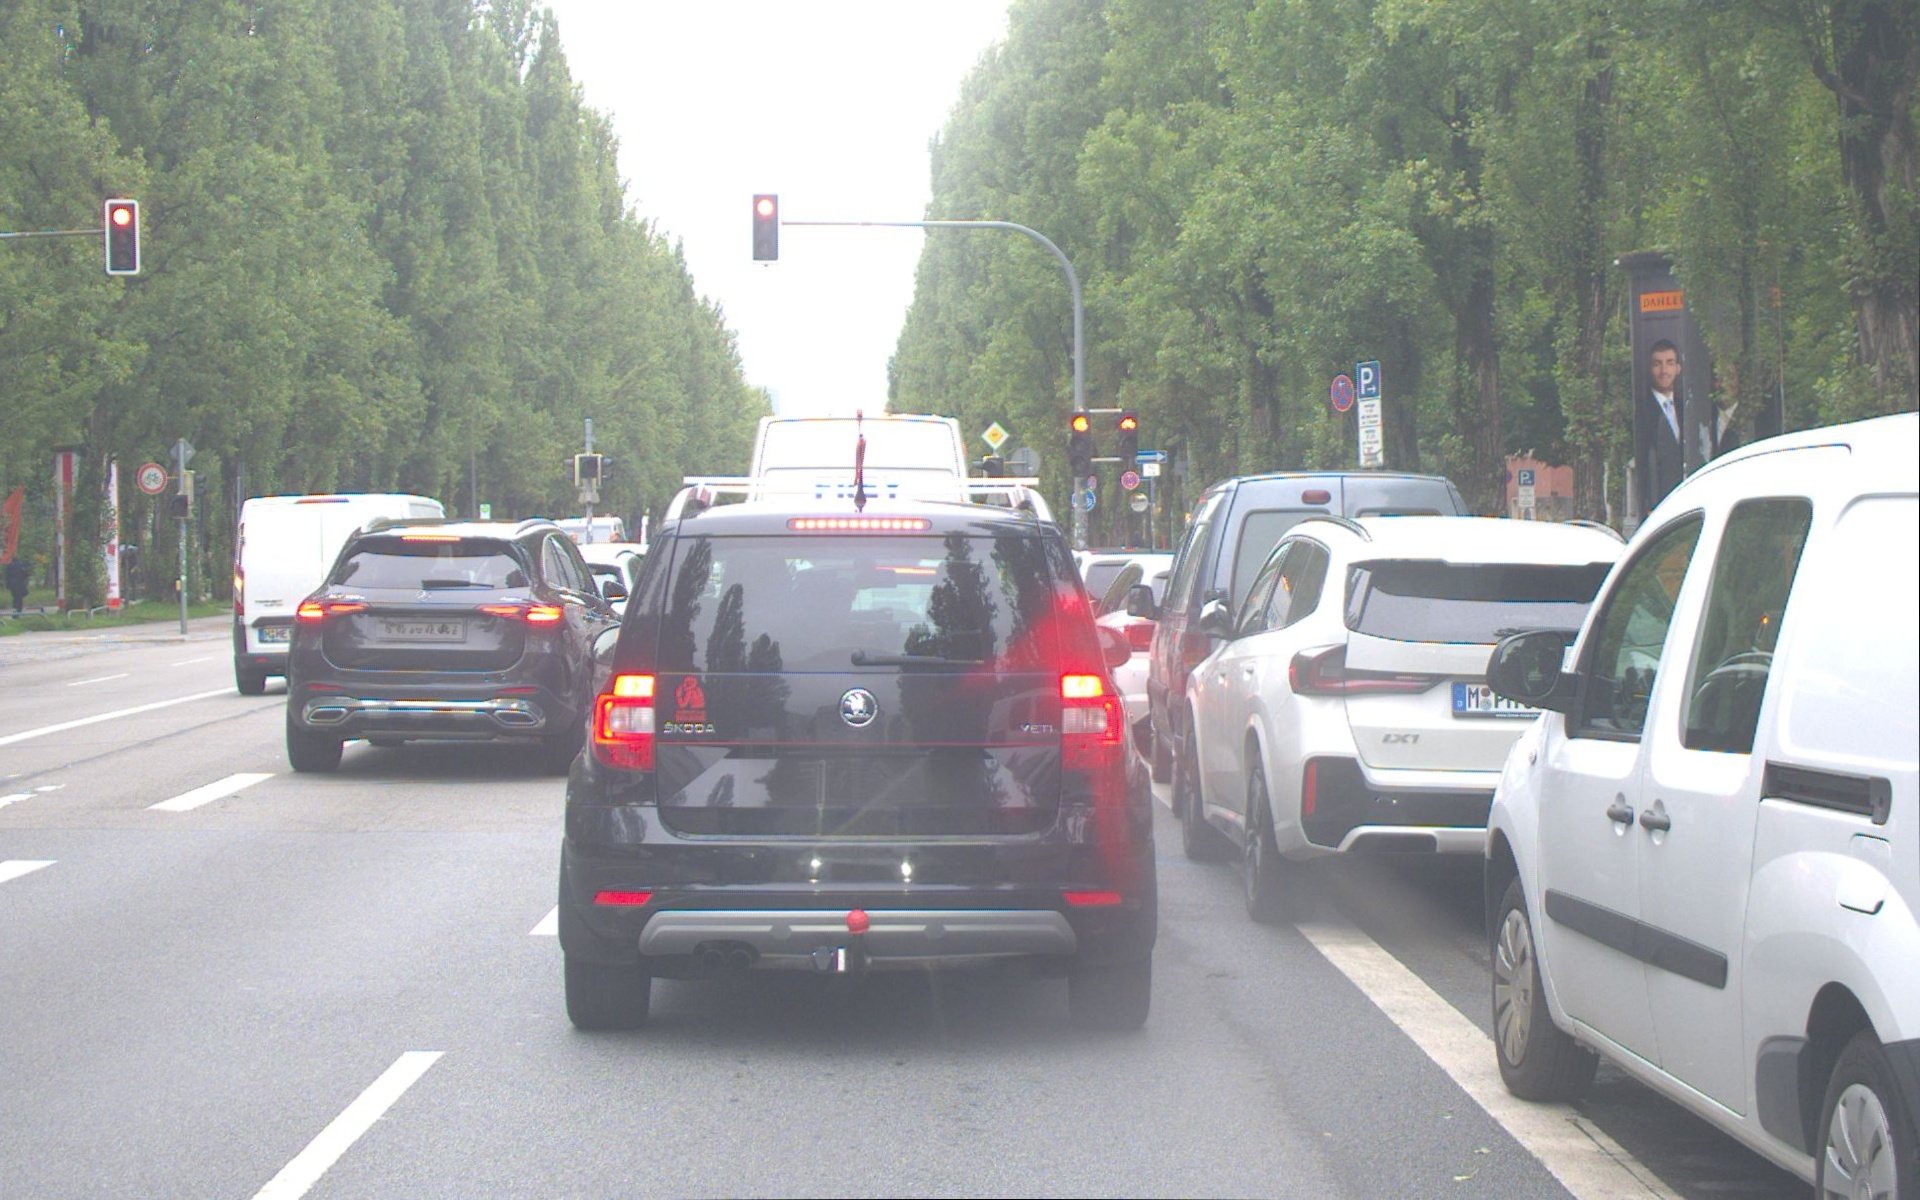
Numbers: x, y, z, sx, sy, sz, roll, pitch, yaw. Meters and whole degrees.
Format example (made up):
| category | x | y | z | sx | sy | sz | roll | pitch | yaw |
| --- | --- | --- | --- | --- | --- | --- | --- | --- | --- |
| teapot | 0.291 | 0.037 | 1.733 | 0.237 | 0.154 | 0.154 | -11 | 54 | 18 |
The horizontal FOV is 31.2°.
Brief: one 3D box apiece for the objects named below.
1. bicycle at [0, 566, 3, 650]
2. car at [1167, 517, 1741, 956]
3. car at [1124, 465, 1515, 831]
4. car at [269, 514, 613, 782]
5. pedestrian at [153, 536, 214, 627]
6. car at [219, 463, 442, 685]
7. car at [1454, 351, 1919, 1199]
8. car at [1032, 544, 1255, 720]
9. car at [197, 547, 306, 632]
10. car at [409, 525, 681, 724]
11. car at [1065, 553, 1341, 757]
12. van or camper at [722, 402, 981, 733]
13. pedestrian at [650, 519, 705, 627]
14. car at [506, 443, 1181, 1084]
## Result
| category | x | y | z | sx | sy | sz | roll | pitch | yaw |
| --- | --- | --- | --- | --- | --- | --- | --- | --- | --- |
| bicycle | -15.483 | 0.141 | 50.673 | 2.536 | 1.233 | 0.812 | -1 | 1 | 9 |
| car | 1.943 | 0.452 | 14.712 | 1.741 | 1.587 | 4.212 | -1 | 1 | -1 |
| car | 1.977 | 0.203 | 19.984 | 1.735 | 1.888 | 4.025 | -1 | 1 | -1 |
| car | -3.383 | 0.249 | 23.099 | 1.781 | 1.614 | 4.025 | 1 | 1 | -2 |
| pedestrian | -15.243 | -0.374 | 67.535 | 0.880 | 1.758 | 0.878 | -1 | 1 | 8 |
| car | -6.353 | -0.286 | 35.064 | 1.781 | 2.104 | 4.025 | -1 | 1 | -4 |
| car | 2.396 | 0.480 | 7.598 | 1.851 | 1.875 | 4.169 | -1 | 1 | -2 |
| car | 1.617 | 0.246 | 31.360 | 1.735 | 1.470 | 3.563 | -1 | 1 | -1 |
| car | -15.599 | -0.250 | 75.833 | 1.688 | 1.776 | 3.775 | -1 | 1 | -1 |
| car | -3.504 | 0.153 | 29.710 | 1.993 | 1.555 | 4.001 | -1 | 2 | -2 |
| car | 1.769 | 0.366 | 26.061 | 1.735 | 1.382 | 3.563 | -1 | 1 | -1 |
| van or camper | -0.950 | -0.299 | 28.666 | 1.975 | 2.539 | 4.025 | -1 | 1 | -3 |
| pedestrian | -5.341 | -0.518 | 65.043 | 0.885 | 2.007 | 1.013 | -1 | 1 | 2 |
| car | -0.370 | 0.425 | 11.661 | 1.855 | 1.764 | 4.000 | 1 | 1 | -1 |
